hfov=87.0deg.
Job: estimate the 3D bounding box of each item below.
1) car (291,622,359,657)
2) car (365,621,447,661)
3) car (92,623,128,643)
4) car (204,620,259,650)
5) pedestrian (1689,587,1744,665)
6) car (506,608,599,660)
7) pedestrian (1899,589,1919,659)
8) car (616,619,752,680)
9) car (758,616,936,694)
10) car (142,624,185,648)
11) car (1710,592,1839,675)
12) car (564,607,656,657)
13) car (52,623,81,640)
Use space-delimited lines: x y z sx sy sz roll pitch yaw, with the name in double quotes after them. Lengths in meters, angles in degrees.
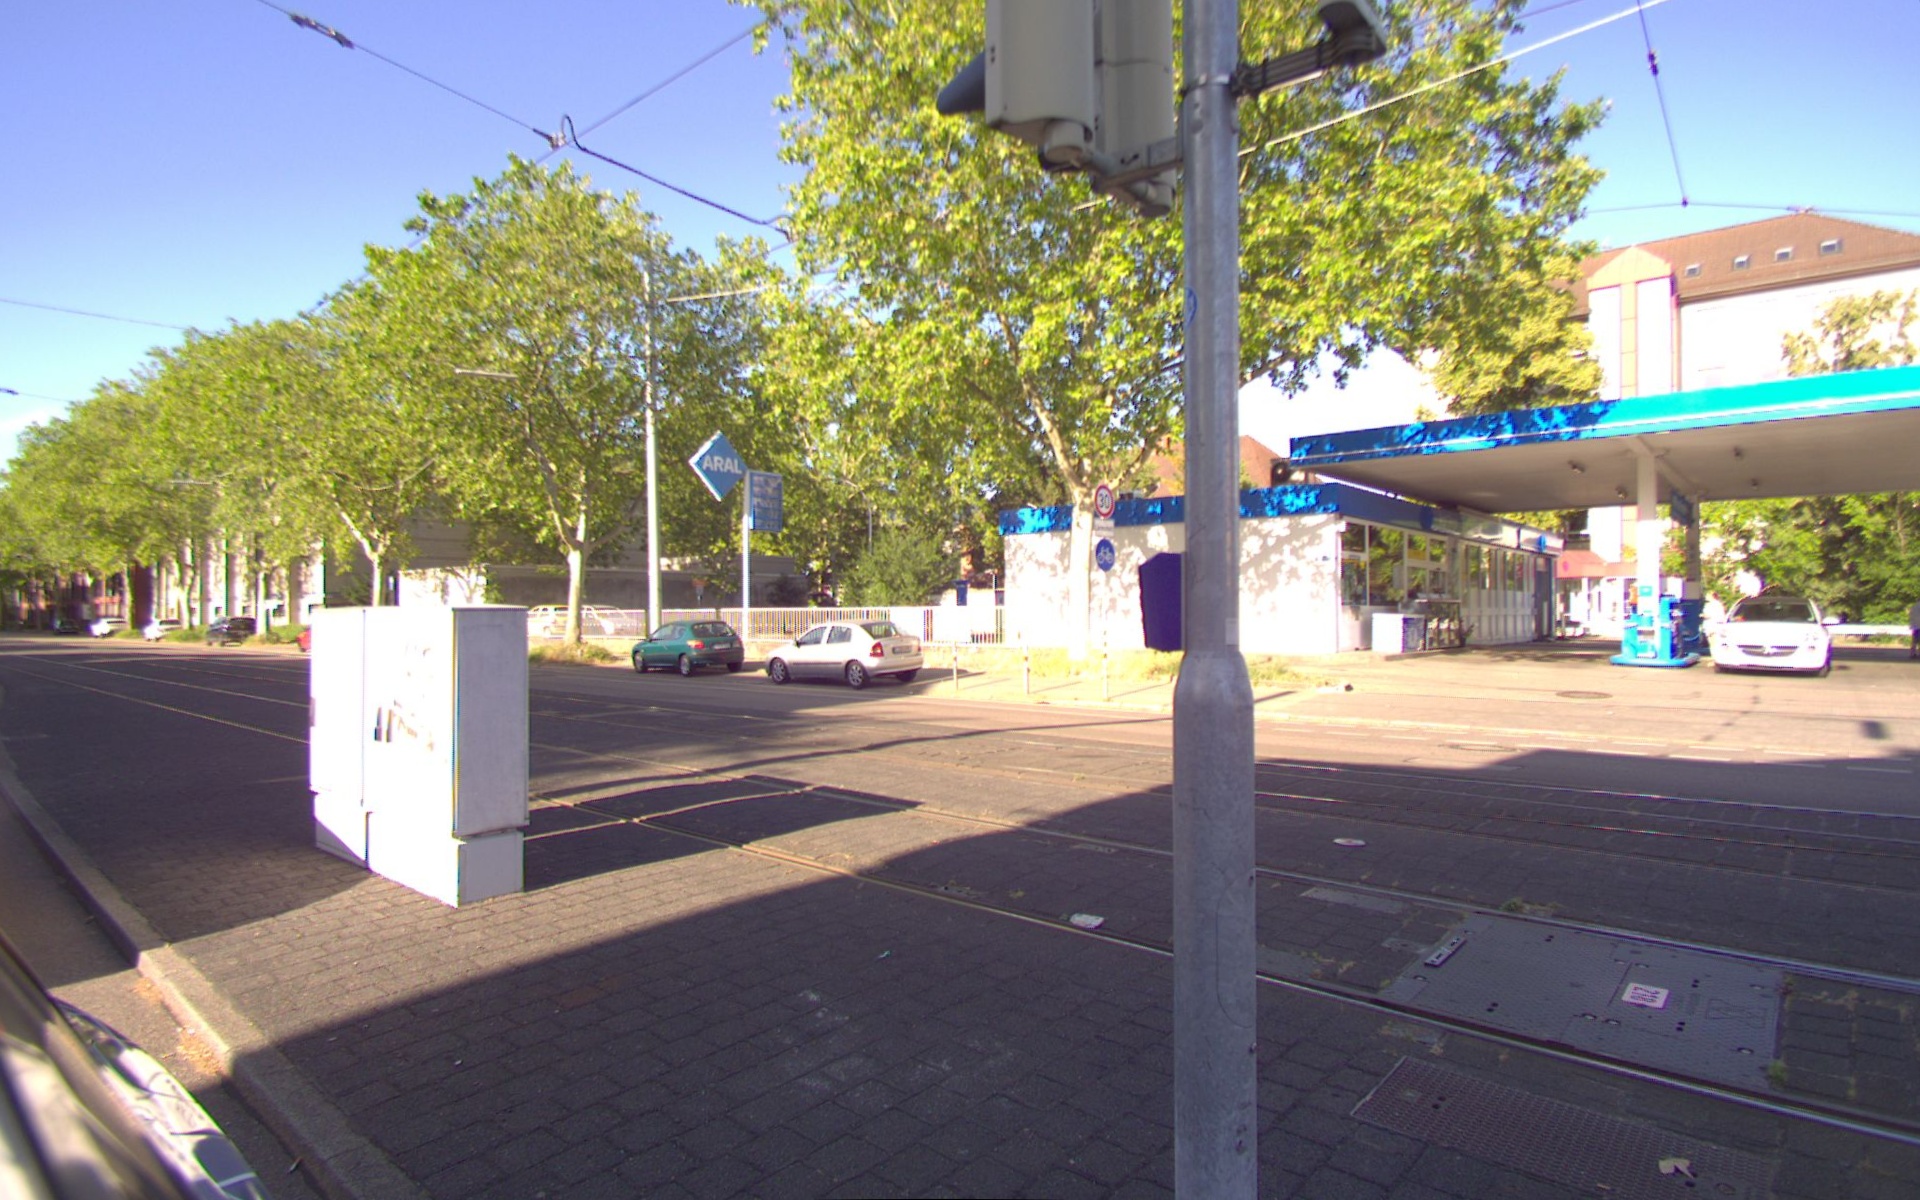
-28.909 1.774 46.048 3.858 1.440 1.695 -1 0 43 "car"
-21.982 1.588 40.094 3.858 1.468 1.735 -1 0 43 "car"
-66.923 2.579 79.645 3.858 1.495 1.735 -1 0 43 "car"
-40.673 1.955 56.489 3.858 1.557 1.735 -1 0 43 "car"
16.193 0.554 21.669 0.637 1.642 0.814 1 -2 -42 "pedestrian"
-17.042 1.394 42.266 3.996 2.029 1.974 -1 -1 39 "car"
25.412 0.618 26.477 0.887 1.815 0.907 -1 -1 15 "pedestrian"
-7.431 1.275 27.079 3.858 1.408 1.722 -1 1 43 "car"
-2.571 1.167 22.599 3.857 1.497 1.823 -1 1 42 "car"
-53.635 2.399 68.125 3.858 1.495 1.735 -1 0 43 "car"
15.943 0.614 19.785 1.793 1.453 3.946 -1 -1 40 "car"
-15.143 1.364 43.693 3.996 2.029 1.974 -1 -1 39 "car"
-84.870 3.012 96.119 3.858 1.495 1.735 -1 0 43 "car"
